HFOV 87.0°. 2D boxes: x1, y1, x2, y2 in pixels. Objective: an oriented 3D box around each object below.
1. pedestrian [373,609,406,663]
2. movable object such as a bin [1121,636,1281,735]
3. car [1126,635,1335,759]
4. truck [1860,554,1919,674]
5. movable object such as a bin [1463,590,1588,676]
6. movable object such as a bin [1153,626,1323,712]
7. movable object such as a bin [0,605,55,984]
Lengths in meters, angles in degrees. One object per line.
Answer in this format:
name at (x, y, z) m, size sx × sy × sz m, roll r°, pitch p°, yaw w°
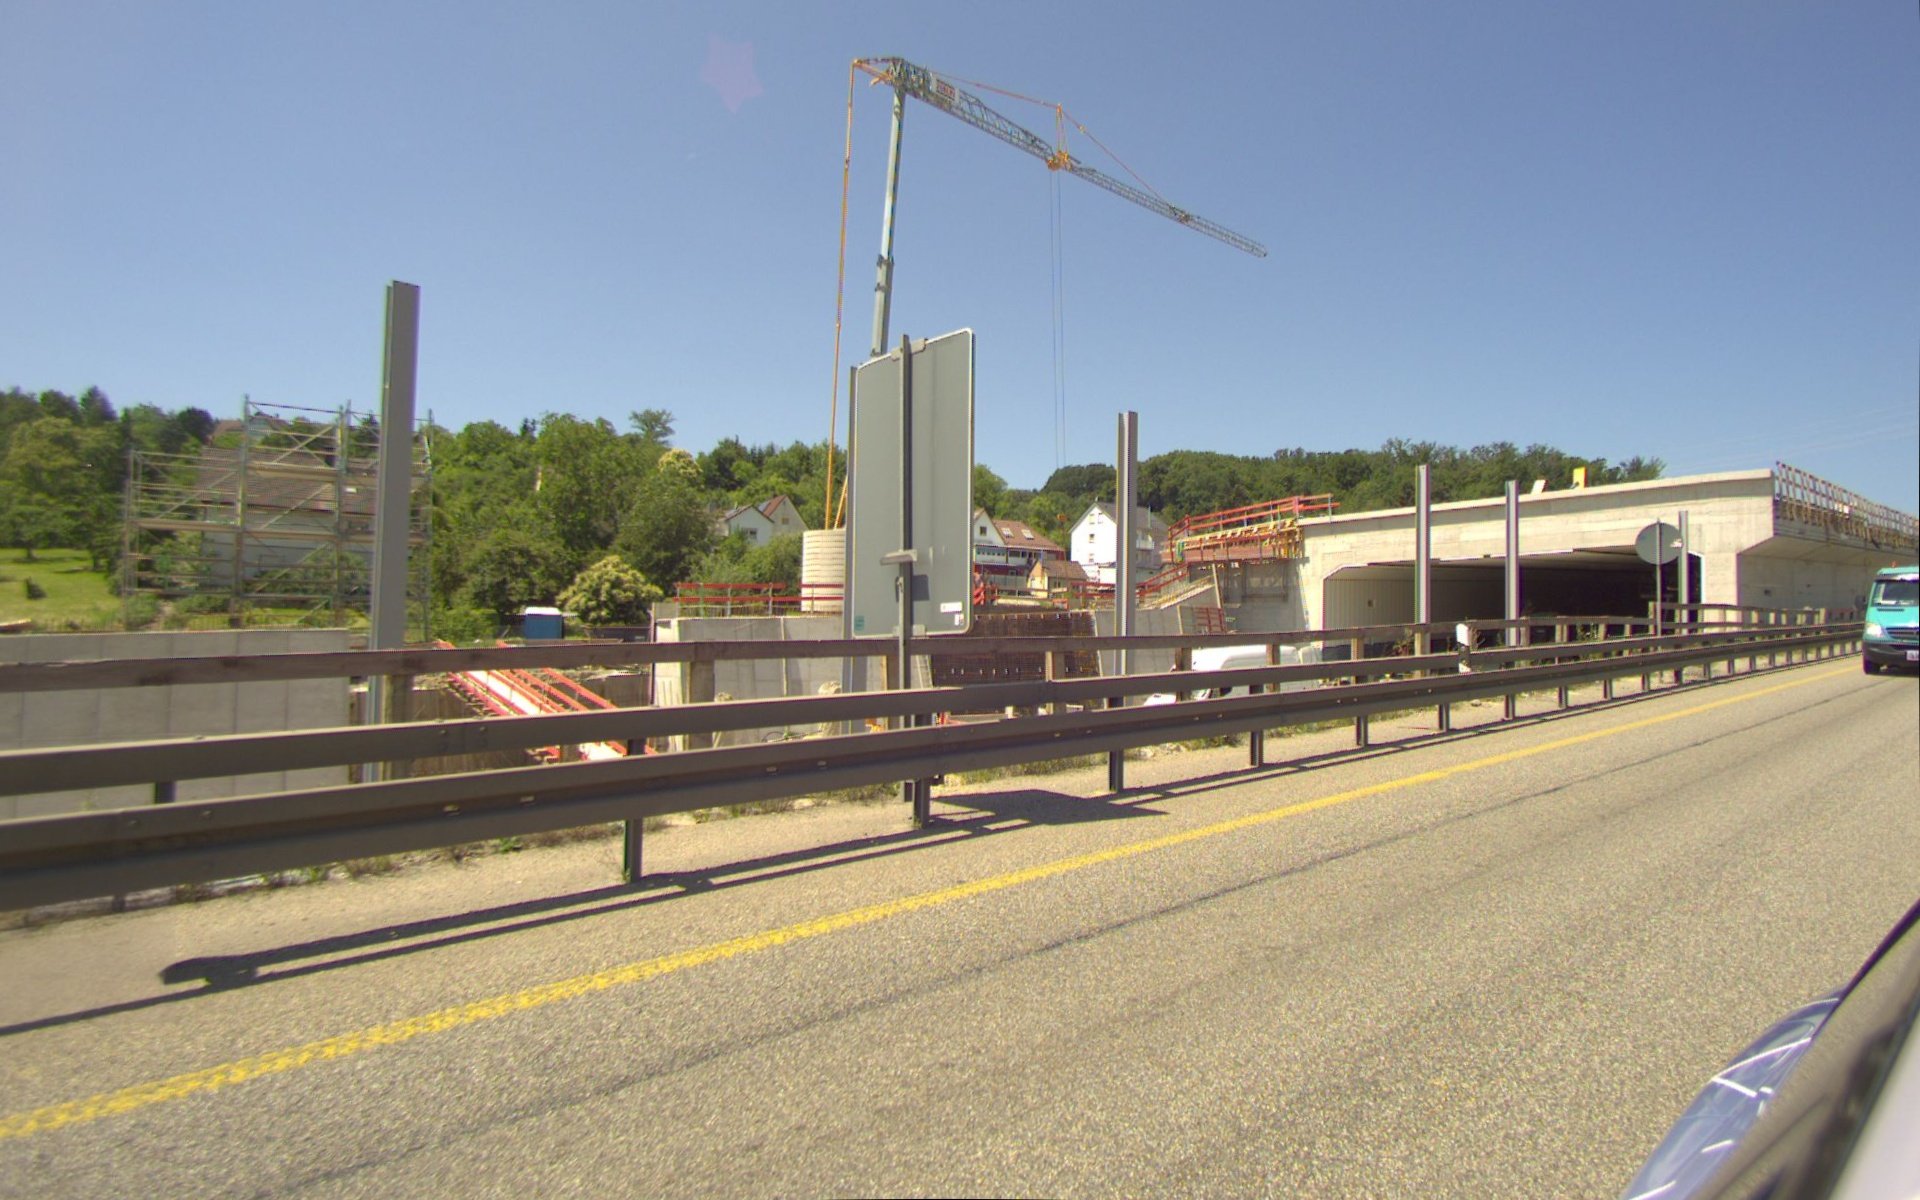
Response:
pedestrian at (-22.196, 1.373, 39.378) m, size 0.954 × 2.012 × 1.140 m, roll -1°, pitch 1°, yaw -37°
movable object such as a bin at (8.007, 2.706, 33.392) m, size 5.398 × 2.710 × 2.151 m, roll -2°, pitch 1°, yaw -36°
car at (8.078, 2.676, 29.771) m, size 6.893 × 2.891 × 2.151 m, roll -2°, pitch 1°, yaw -37°
truck at (22.002, 0.196, 22.377) m, size 7.303 × 2.386 × 2.138 m, roll -2°, pitch 1°, yaw -40°
movable object such as a bin at (30.348, 1.613, 54.122) m, size 8.998 × 4.113 × 2.958 m, roll -2°, pitch 1°, yaw -41°
movable object such as a bin at (11.611, 3.052, 43.217) m, size 3.425 × 2.941 × 7.159 m, roll -1°, pitch -8°, yaw -18°
movable object such as a bin at (-16.550, 2.586, 11.280) m, size 9.488 × 4.802 × 3.232 m, roll -2°, pitch 1°, yaw -41°
